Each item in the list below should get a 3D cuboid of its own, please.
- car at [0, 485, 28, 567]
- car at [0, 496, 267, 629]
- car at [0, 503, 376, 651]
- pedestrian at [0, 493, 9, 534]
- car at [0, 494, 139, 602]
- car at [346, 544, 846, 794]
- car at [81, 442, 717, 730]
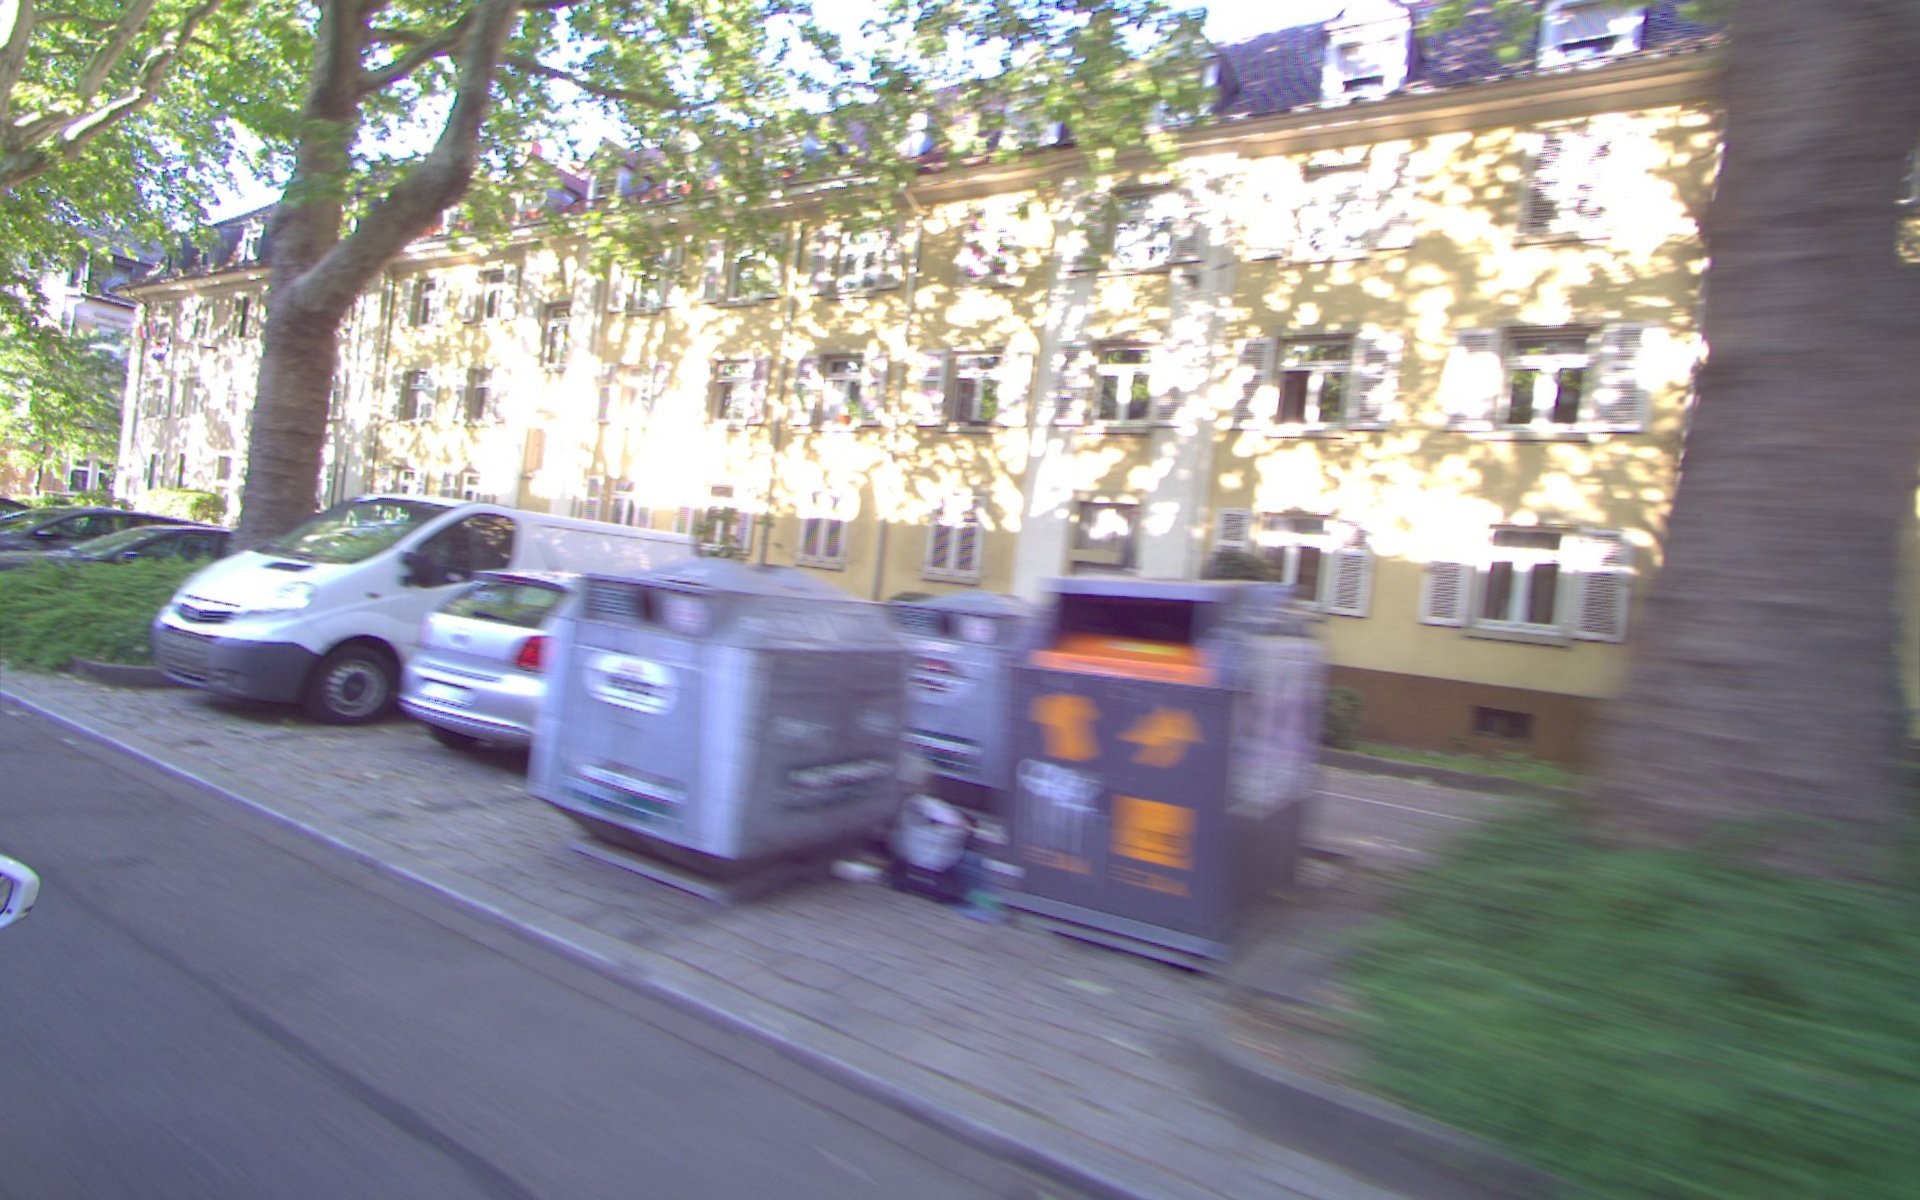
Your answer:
[{"bbox_3d":[-21.258,-1.691,19.384,1.996,1.622,4.494,7,1,36],"label":"car"},{"bbox_3d":[-12.487,-0.572,13.969,1.866,1.501,4.253,7,-1,32],"label":"car"},{"bbox_3d":[-10.064,-0.264,12.532,1.776,1.397,4.399,6,-1,35],"label":"car"},{"bbox_3d":[-35.657,-3.242,37.029,0.807,1.473,0.662,7,0,32],"label":"pedestrian"},{"bbox_3d":[-15.693,-0.967,15.858,1.682,1.527,3.844,7,-1,31],"label":"car"},{"bbox_3d":[-2.703,0.545,8.252,1.644,1.464,3.533,7,-1,29],"label":"car"},{"bbox_3d":[-4.878,0.013,9.651,2.030,1.987,4.845,7,-1,30],"label":"car"}]
